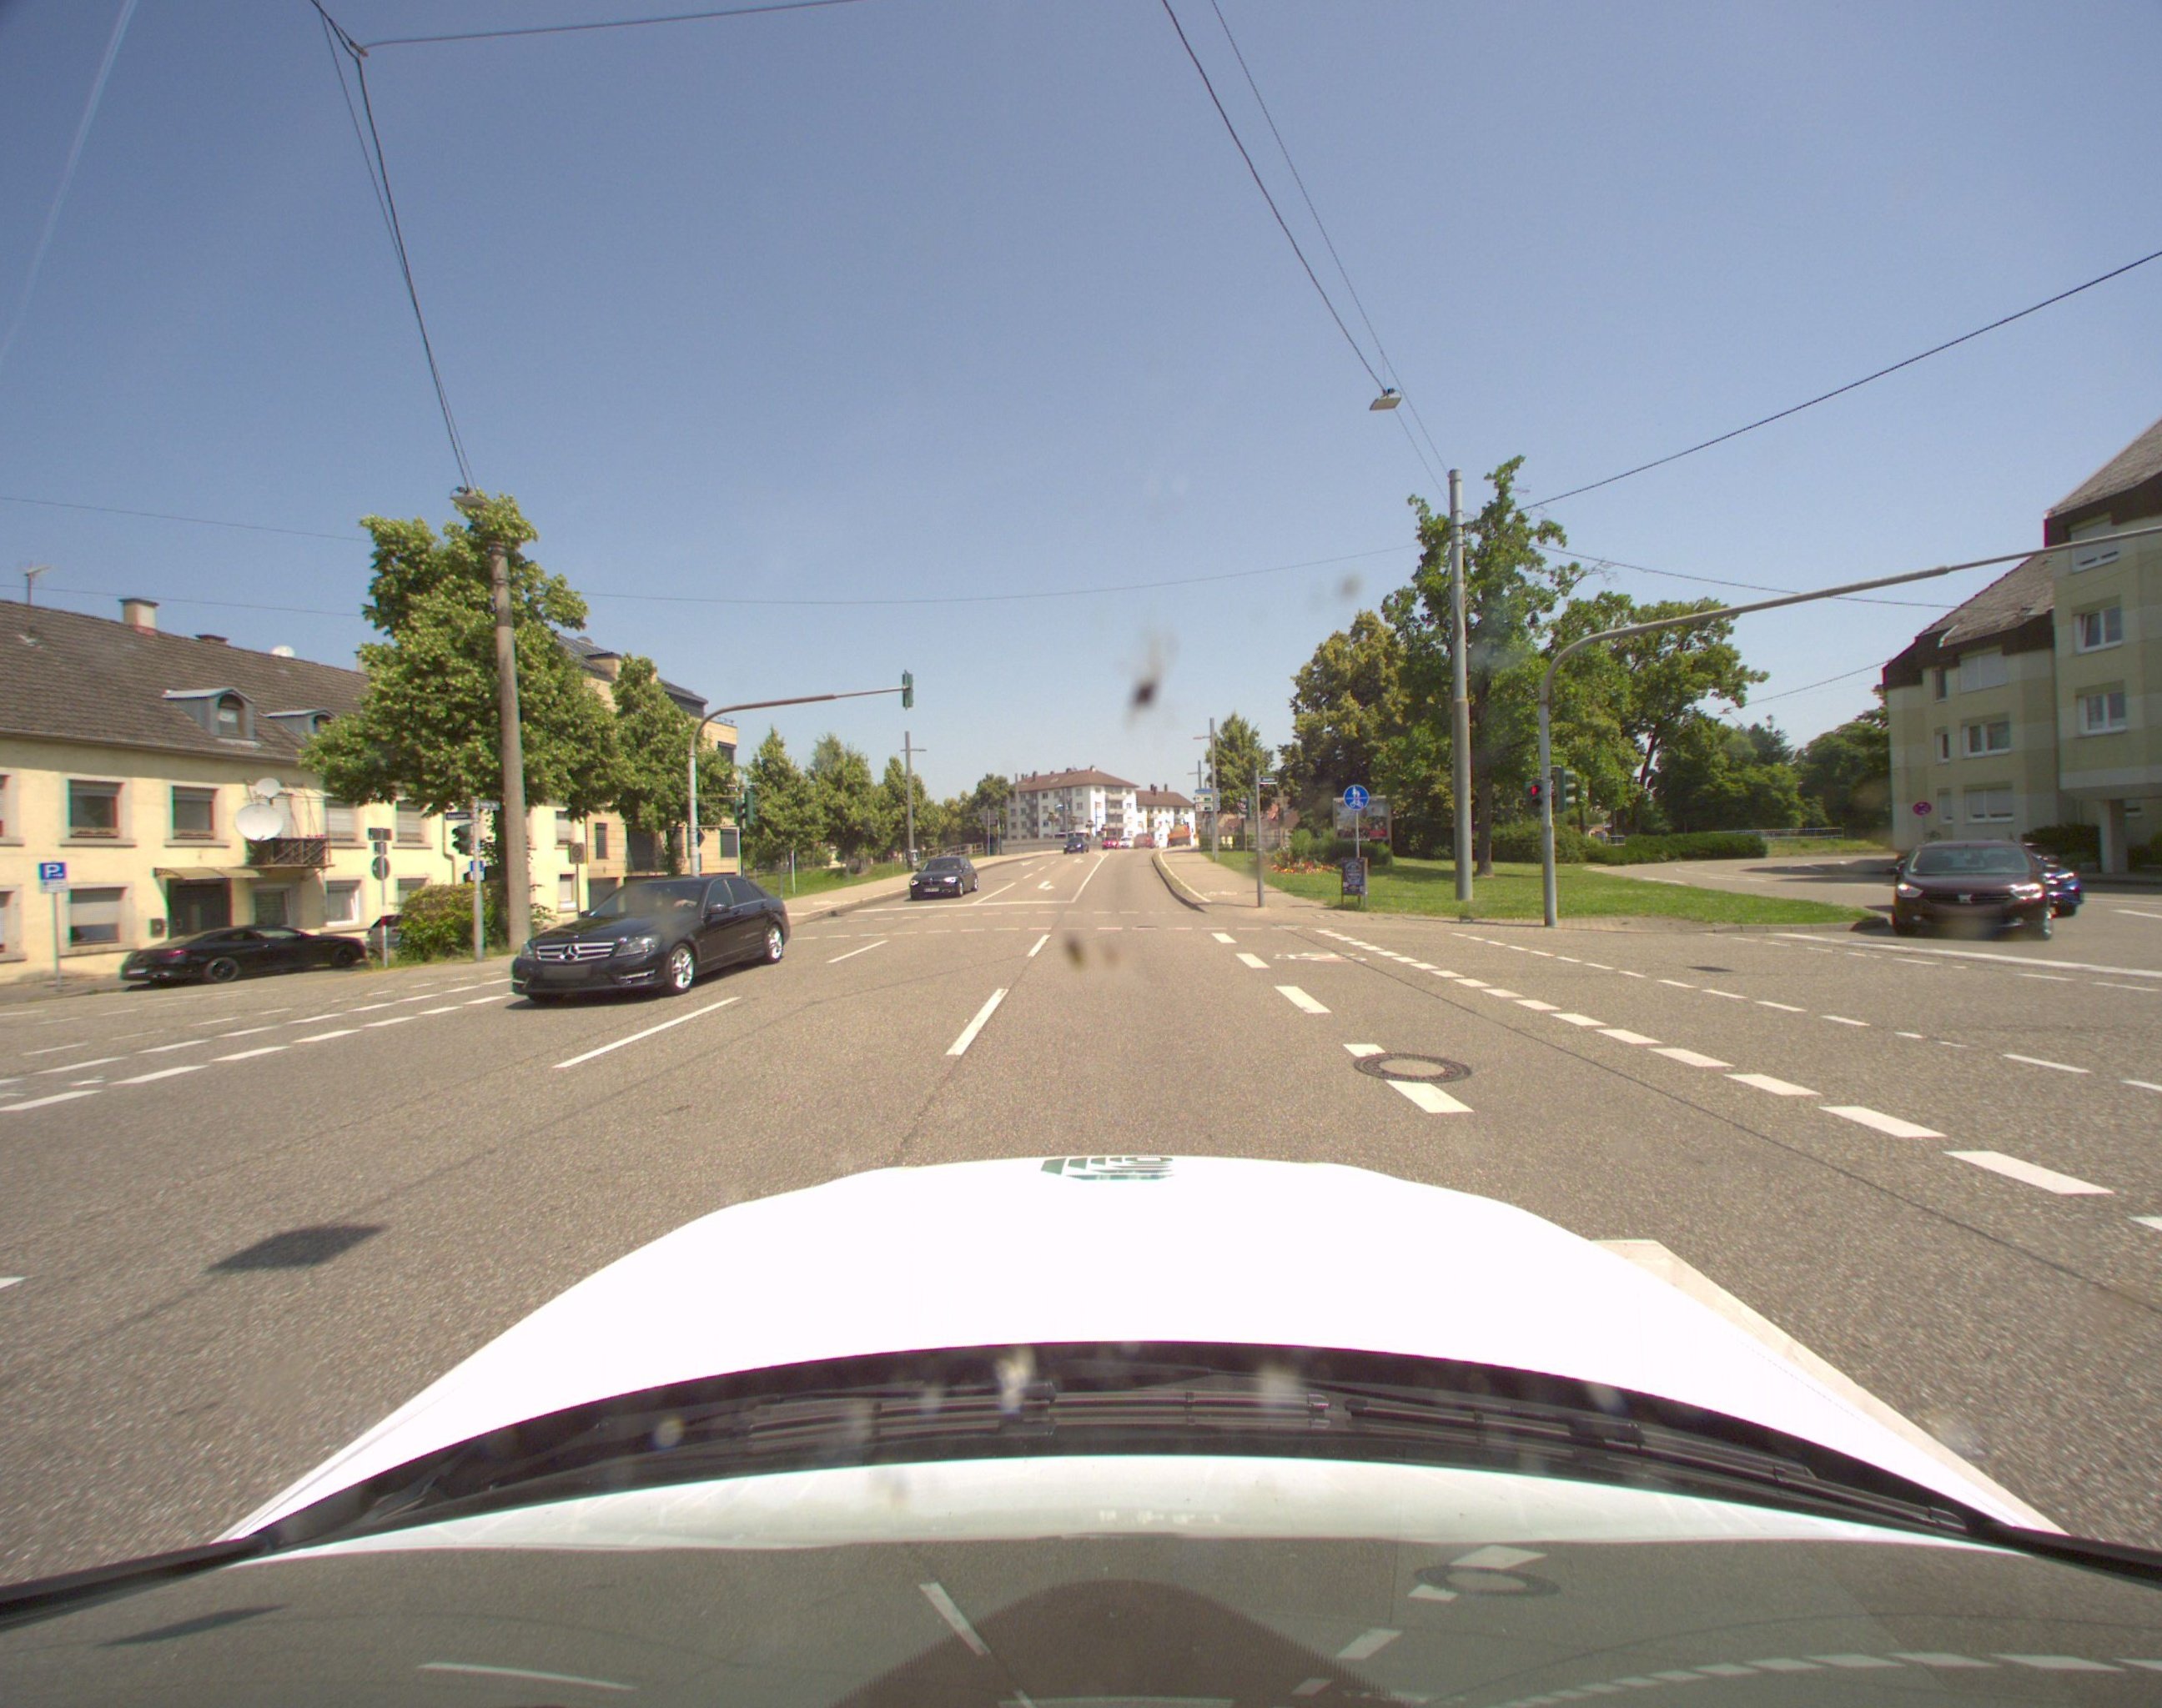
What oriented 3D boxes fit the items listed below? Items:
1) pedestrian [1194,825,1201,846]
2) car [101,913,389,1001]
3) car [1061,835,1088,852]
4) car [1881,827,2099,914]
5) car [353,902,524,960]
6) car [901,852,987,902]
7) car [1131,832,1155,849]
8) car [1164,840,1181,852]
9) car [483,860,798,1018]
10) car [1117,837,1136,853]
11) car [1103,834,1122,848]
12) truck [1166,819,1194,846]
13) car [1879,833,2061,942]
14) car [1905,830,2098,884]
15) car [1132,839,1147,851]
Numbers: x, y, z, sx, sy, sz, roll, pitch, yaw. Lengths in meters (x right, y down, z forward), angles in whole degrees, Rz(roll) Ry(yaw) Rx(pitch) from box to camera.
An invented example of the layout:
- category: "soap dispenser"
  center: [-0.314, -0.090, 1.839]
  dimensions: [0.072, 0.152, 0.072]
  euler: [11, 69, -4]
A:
- category: "pedestrian"
  center: [11.185, -1.812, 78.316]
  dimensions: [0.545, 1.960, 0.672]
  euler: [-2, -1, -2]
- category: "car"
  center: [-22.304, 2.655, 22.151]
  dimensions: [1.804, 1.628, 5.300]
  euler: [-5, -1, 9]
- category: "car"
  center: [-0.514, -0.903, 71.742]
  dimensions: [1.704, 1.485, 4.041]
  euler: [-1, 0, 9]
- category: "car"
  center: [20.395, 0.351, 18.584]
  dimensions: [1.974, 1.701, 4.799]
  euler: [-3, -1, 32]
- category: "car"
  center: [-21.444, 2.529, 27.443]
  dimensions: [1.765, 1.432, 4.442]
  euler: [-1, 1, 9]
- category: "car"
  center: [-4.791, 0.768, 29.131]
  dimensions: [1.826, 1.399, 4.059]
  euler: [-4, 1, 7]
- category: "car"
  center: [6.219, -1.318, 81.141]
  dimensions: [1.979, 1.613, 4.352]
  euler: [-3, 0, 8]
- category: "car"
  center: [13.037, -1.132, 115.706]
  dimensions: [2.026, 1.503, 4.429]
  euler: [-1, 0, 10]
- category: "car"
  center: [-5.528, 0.937, 10.989]
  dimensions: [1.749, 1.560, 4.319]
  euler: [-3, 0, 1]
- category: "car"
  center: [6.071, -1.161, 108.163]
  dimensions: [1.825, 1.860, 4.677]
  euler: [-4, -1, 11]
- category: "car"
  center: [3.546, -1.421, 90.809]
  dimensions: [1.637, 1.464, 3.871]
  euler: [-2, 0, 9]
- category: "truck"
  center: [10.815, -2.299, 88.729]
  dimensions: [2.589, 2.691, 5.840]
  euler: [-2, 0, 10]
- category: "car"
  center: [15.867, 0.502, 14.482]
  dimensions: [4.843, 1.632, 1.895]
  euler: [-1, -1, -40]
- category: "car"
  center: [27.978, 0.090, 25.009]
  dimensions: [1.877, 1.499, 4.551]
  euler: [-1, 0, 18]
- category: "car"
  center: [9.030, -1.336, 125.734]
  dimensions: [1.726, 1.640, 3.933]
  euler: [-6, -1, 11]
